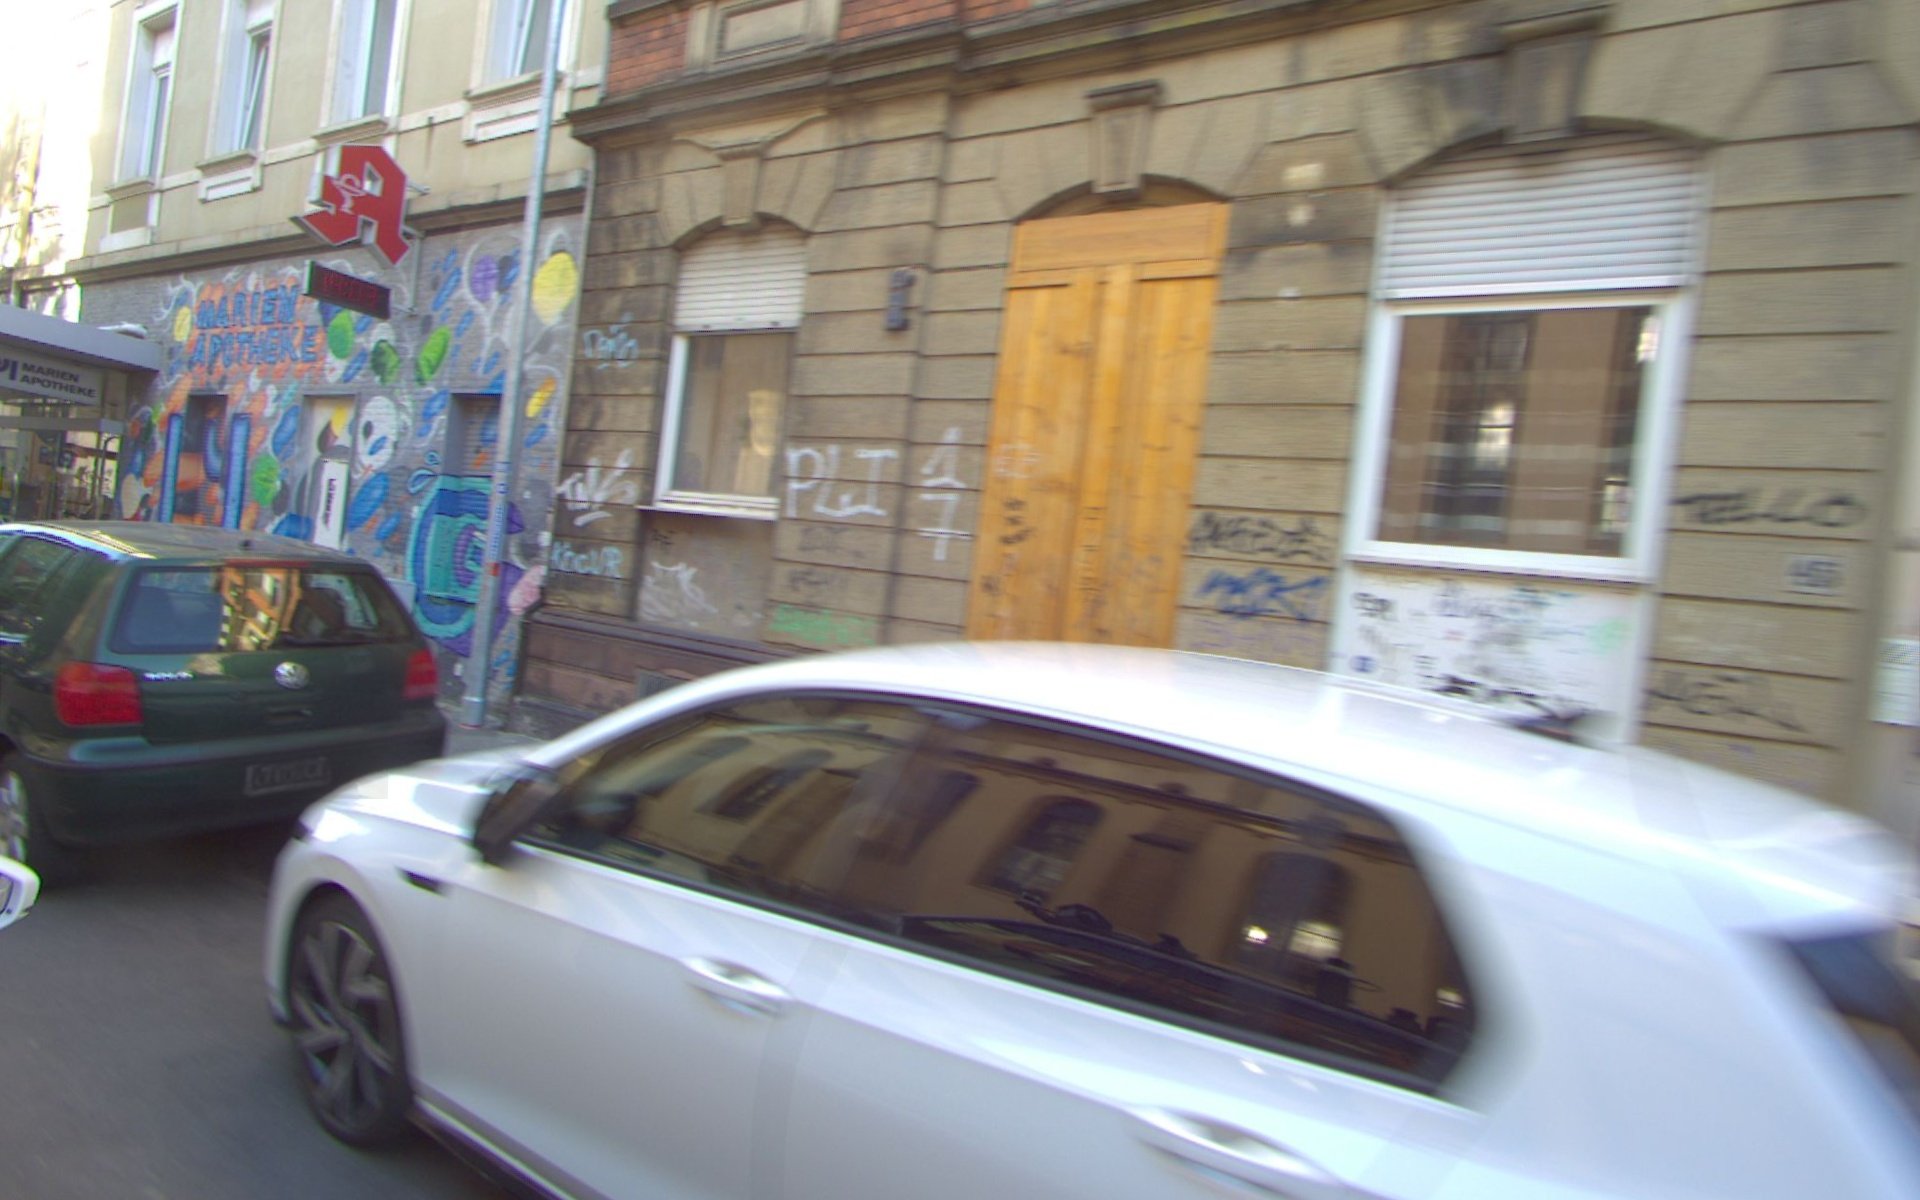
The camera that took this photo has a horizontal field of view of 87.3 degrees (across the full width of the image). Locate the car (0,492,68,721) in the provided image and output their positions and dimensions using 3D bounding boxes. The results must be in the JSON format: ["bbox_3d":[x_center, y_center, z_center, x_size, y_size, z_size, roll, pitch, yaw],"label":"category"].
[{"bbox_3d":[-8.297,-0.203,7.302,3.935,1.522,1.606,7,-2,33],"label":"car"}]

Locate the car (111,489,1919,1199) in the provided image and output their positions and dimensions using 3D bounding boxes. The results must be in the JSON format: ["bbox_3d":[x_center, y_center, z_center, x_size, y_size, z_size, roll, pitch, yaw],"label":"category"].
[{"bbox_3d":[-0.109,0.732,2.575,4.287,1.503,1.783,7,-2,32],"label":"car"}]

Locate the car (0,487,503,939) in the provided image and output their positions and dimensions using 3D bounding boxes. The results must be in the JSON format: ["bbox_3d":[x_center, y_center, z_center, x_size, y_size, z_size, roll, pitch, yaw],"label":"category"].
[{"bbox_3d":[-4.177,0.308,5.056,3.593,1.512,1.573,7,-2,32],"label":"car"}]
